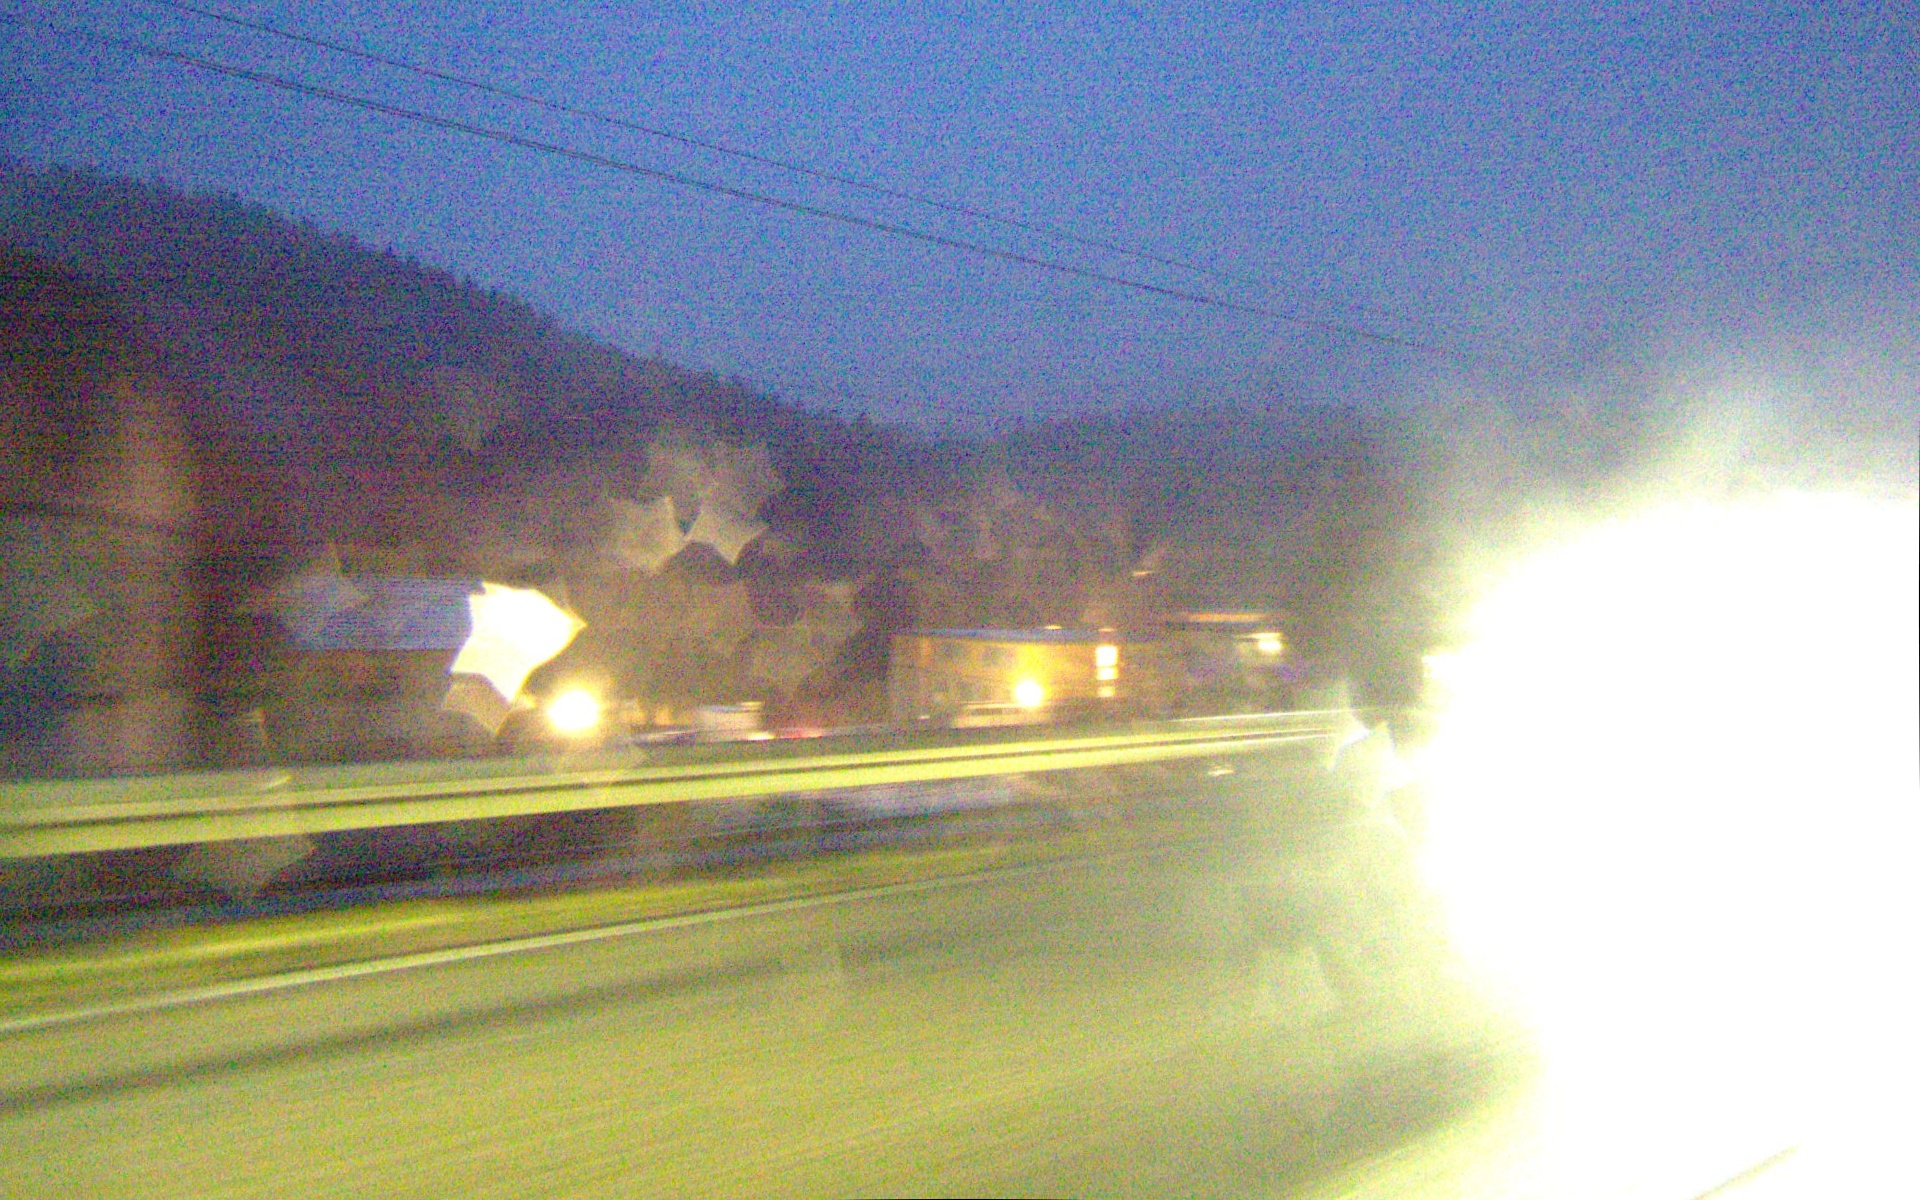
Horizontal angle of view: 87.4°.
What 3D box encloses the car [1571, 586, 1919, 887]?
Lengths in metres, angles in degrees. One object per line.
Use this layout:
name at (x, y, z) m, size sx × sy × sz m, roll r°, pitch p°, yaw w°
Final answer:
car at (6.774, 0.817, 7.378) m, size 4.403 × 1.661 × 2.088 m, roll 1°, pitch -2°, yaw -30°
